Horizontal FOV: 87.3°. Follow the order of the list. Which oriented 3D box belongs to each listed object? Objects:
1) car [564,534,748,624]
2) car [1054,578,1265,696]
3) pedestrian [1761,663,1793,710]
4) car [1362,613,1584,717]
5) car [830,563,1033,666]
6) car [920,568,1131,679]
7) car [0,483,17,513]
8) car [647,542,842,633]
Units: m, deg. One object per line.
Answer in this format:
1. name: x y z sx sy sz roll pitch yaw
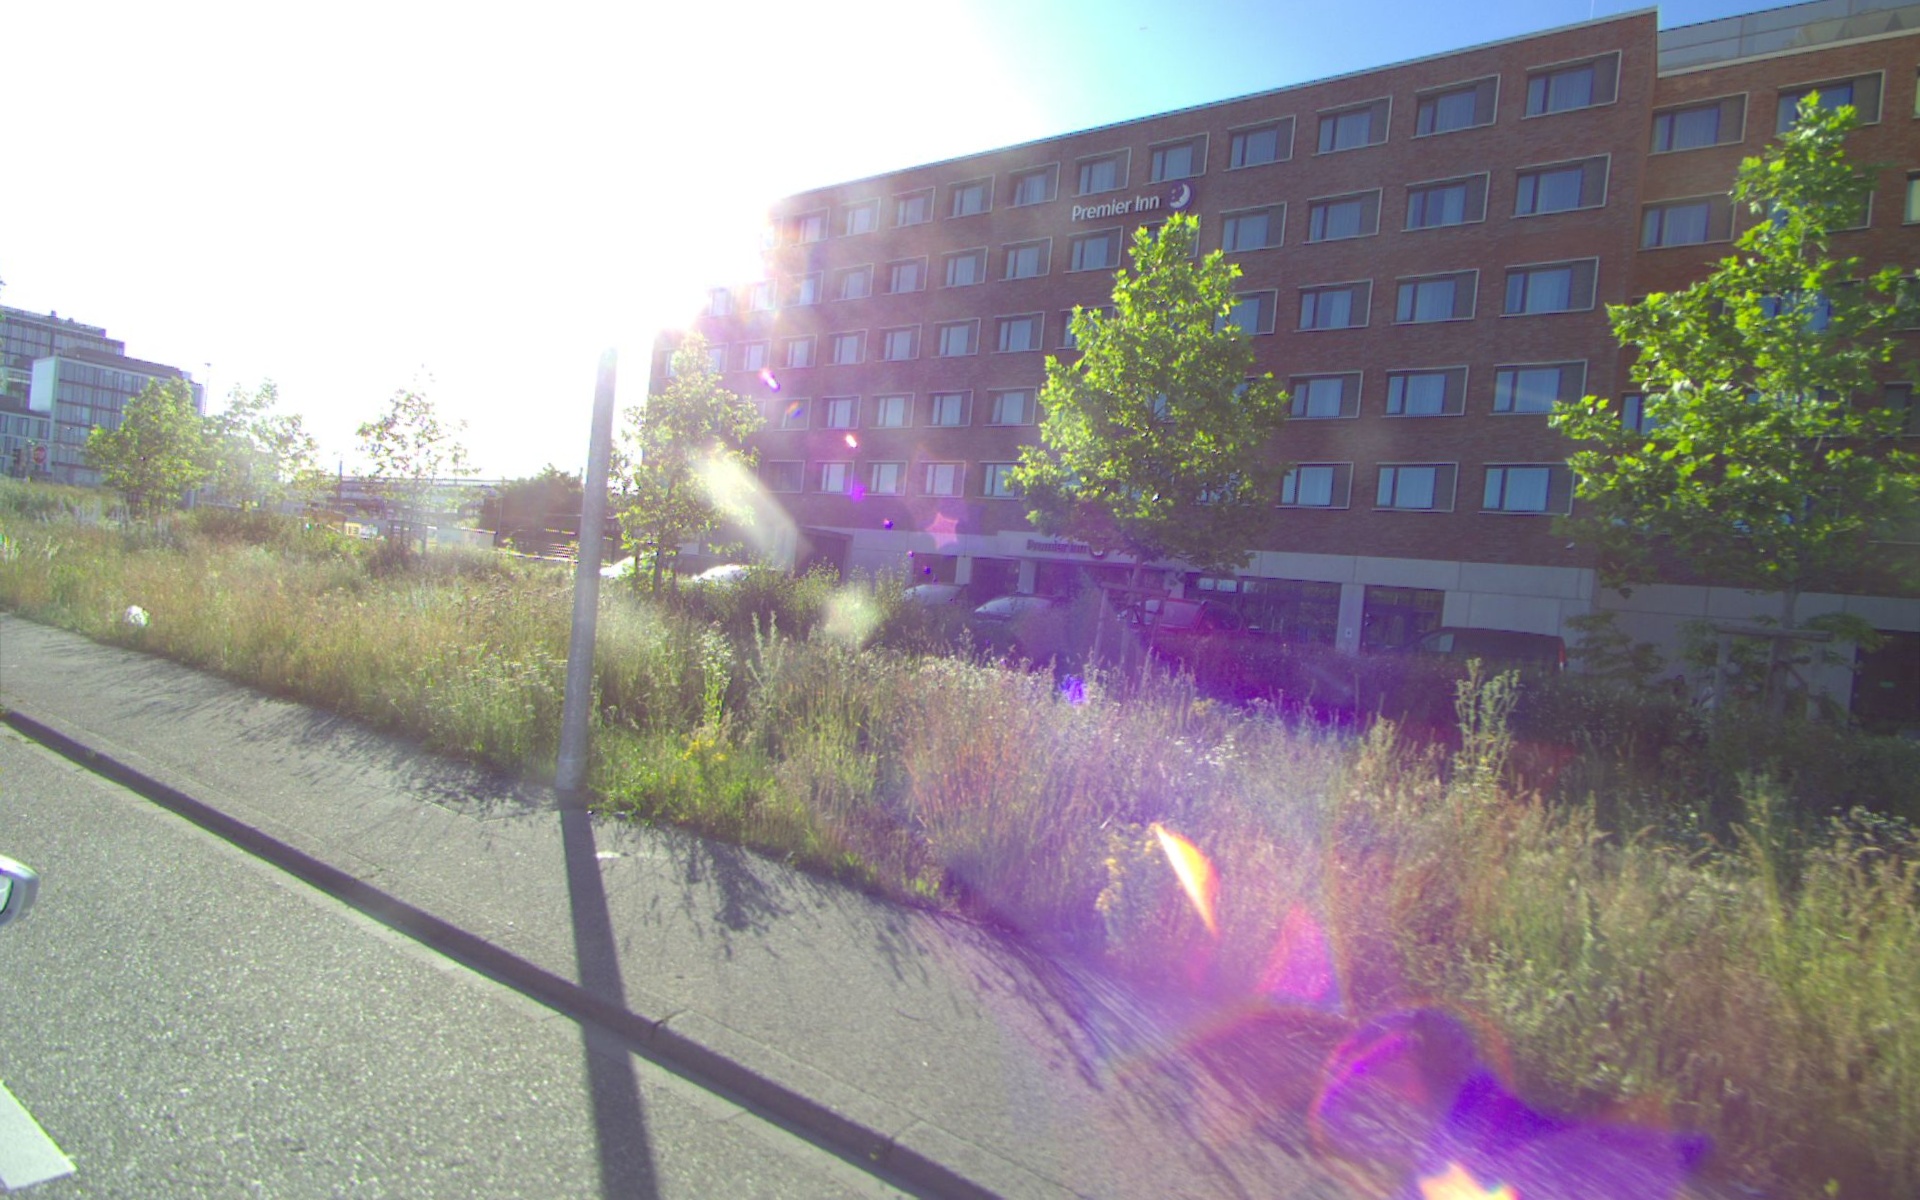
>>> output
1. car: -7.502 -0.481 25.178 1.823 1.726 3.988 7 -1 36
2. car: 3.533 0.700 17.228 1.823 1.599 4.185 7 -1 36
3. pedestrian: 21.515 2.277 26.496 0.524 1.154 0.342 6 0 29
4. car: 13.101 1.624 25.815 4.717 1.959 1.973 7 0 34
5. car: -0.463 0.349 20.387 1.823 1.599 4.185 7 -1 36
6. car: 1.339 0.500 18.741 1.823 1.599 4.185 7 -1 36
7. car: -59.138 -6.344 60.312 2.139 1.704 3.984 7 0 -18
8. car: -4.929 -0.245 23.551 1.823 1.599 4.185 7 -1 36
